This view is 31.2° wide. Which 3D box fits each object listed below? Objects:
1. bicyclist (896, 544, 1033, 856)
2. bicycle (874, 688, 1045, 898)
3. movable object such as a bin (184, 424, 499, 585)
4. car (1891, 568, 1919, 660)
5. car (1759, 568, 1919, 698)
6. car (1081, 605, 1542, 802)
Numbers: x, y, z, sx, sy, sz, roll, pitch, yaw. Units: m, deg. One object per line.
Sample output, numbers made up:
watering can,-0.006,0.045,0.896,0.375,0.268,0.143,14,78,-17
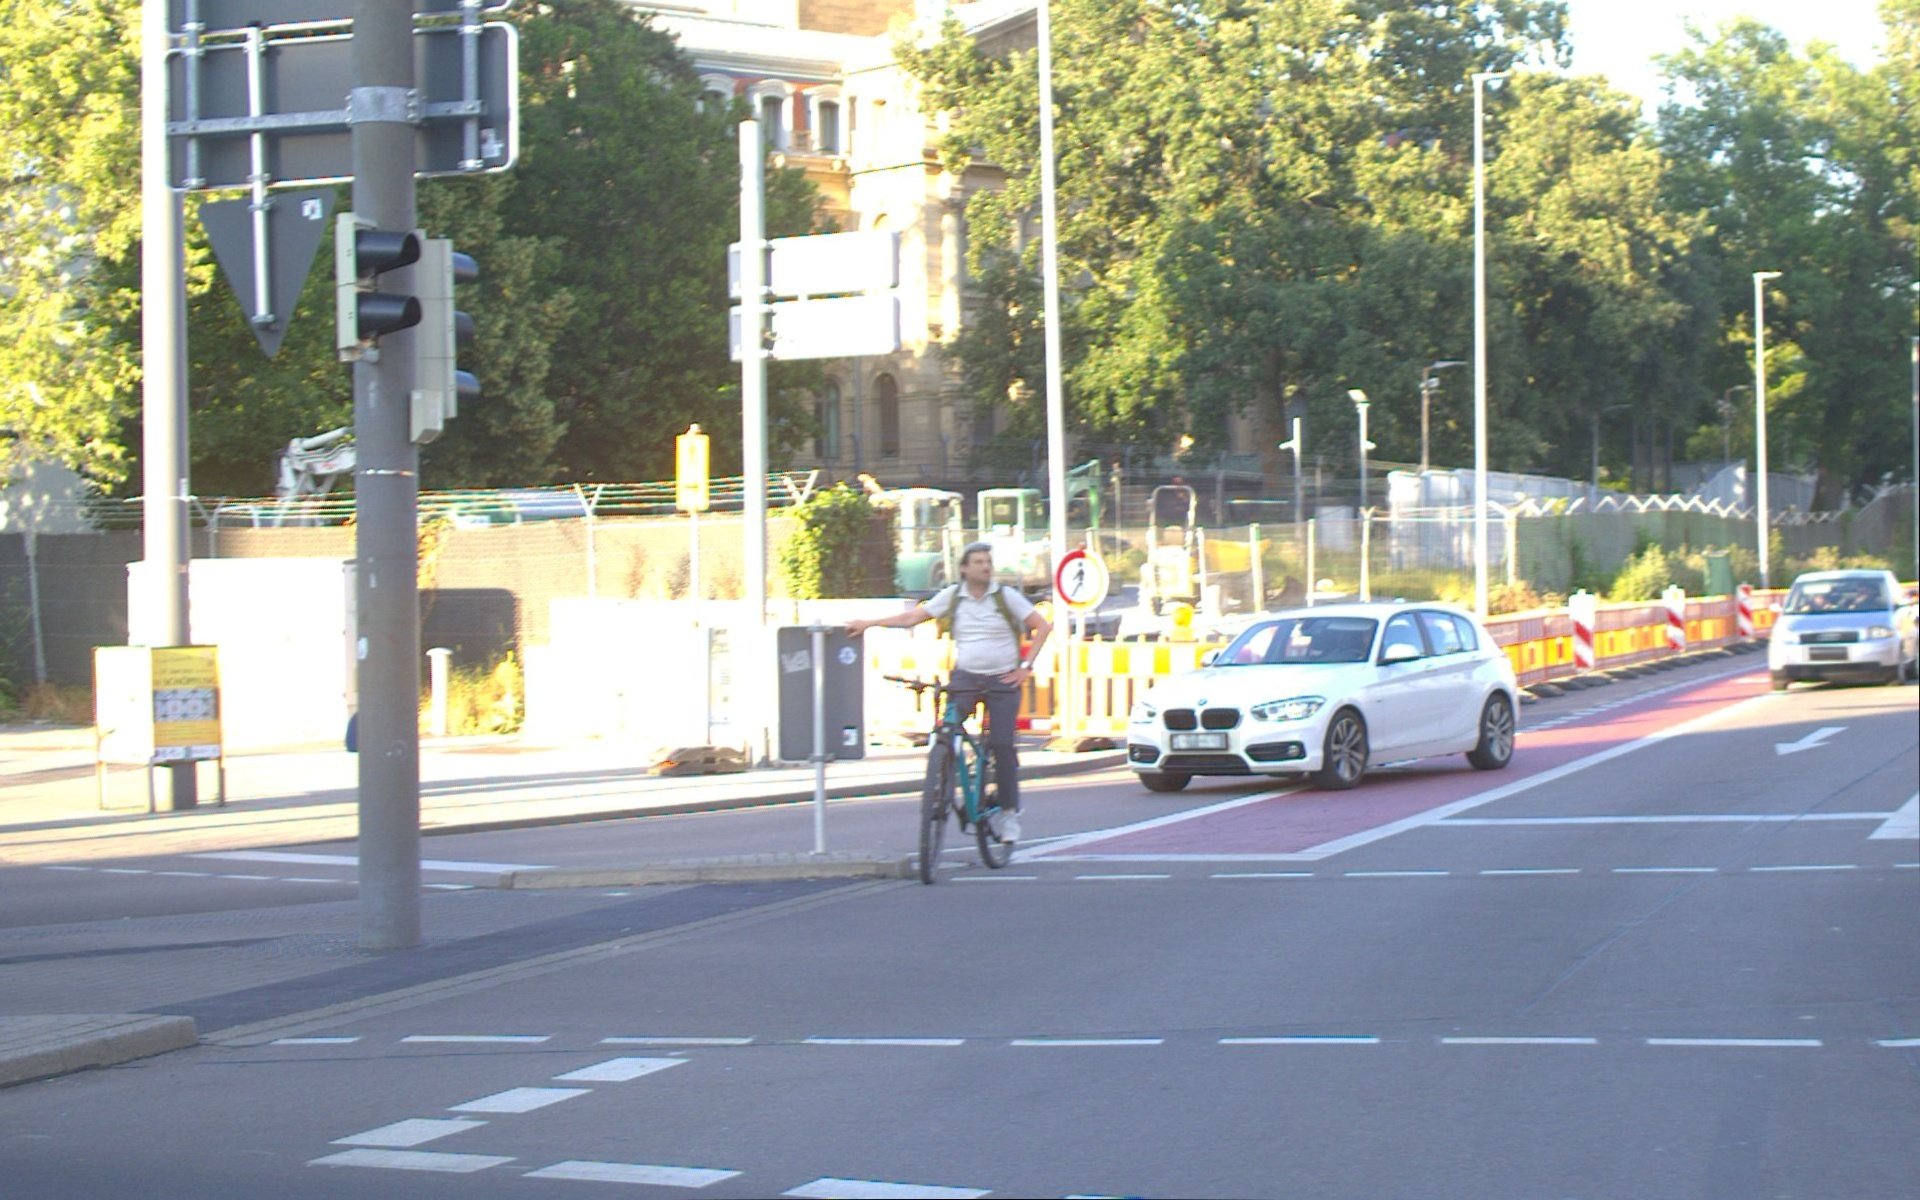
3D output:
bicyclist,0.030,0.536,18.814,0.594,1.665,0.748,-1,0,10
bicycle,0.020,1.027,18.749,0.595,1.019,1.846,-1,0,10
movable object such as a bin,-8.505,-1.263,46.910,1.994,2.007,5.022,-2,0,-39
car,18.233,0.213,62.479,1.940,1.612,4.387,-1,0,23
car,11.704,0.433,45.184,1.677,1.556,3.722,-3,-2,22
car,2.933,0.803,27.864,1.914,1.401,4.296,-2,0,33
